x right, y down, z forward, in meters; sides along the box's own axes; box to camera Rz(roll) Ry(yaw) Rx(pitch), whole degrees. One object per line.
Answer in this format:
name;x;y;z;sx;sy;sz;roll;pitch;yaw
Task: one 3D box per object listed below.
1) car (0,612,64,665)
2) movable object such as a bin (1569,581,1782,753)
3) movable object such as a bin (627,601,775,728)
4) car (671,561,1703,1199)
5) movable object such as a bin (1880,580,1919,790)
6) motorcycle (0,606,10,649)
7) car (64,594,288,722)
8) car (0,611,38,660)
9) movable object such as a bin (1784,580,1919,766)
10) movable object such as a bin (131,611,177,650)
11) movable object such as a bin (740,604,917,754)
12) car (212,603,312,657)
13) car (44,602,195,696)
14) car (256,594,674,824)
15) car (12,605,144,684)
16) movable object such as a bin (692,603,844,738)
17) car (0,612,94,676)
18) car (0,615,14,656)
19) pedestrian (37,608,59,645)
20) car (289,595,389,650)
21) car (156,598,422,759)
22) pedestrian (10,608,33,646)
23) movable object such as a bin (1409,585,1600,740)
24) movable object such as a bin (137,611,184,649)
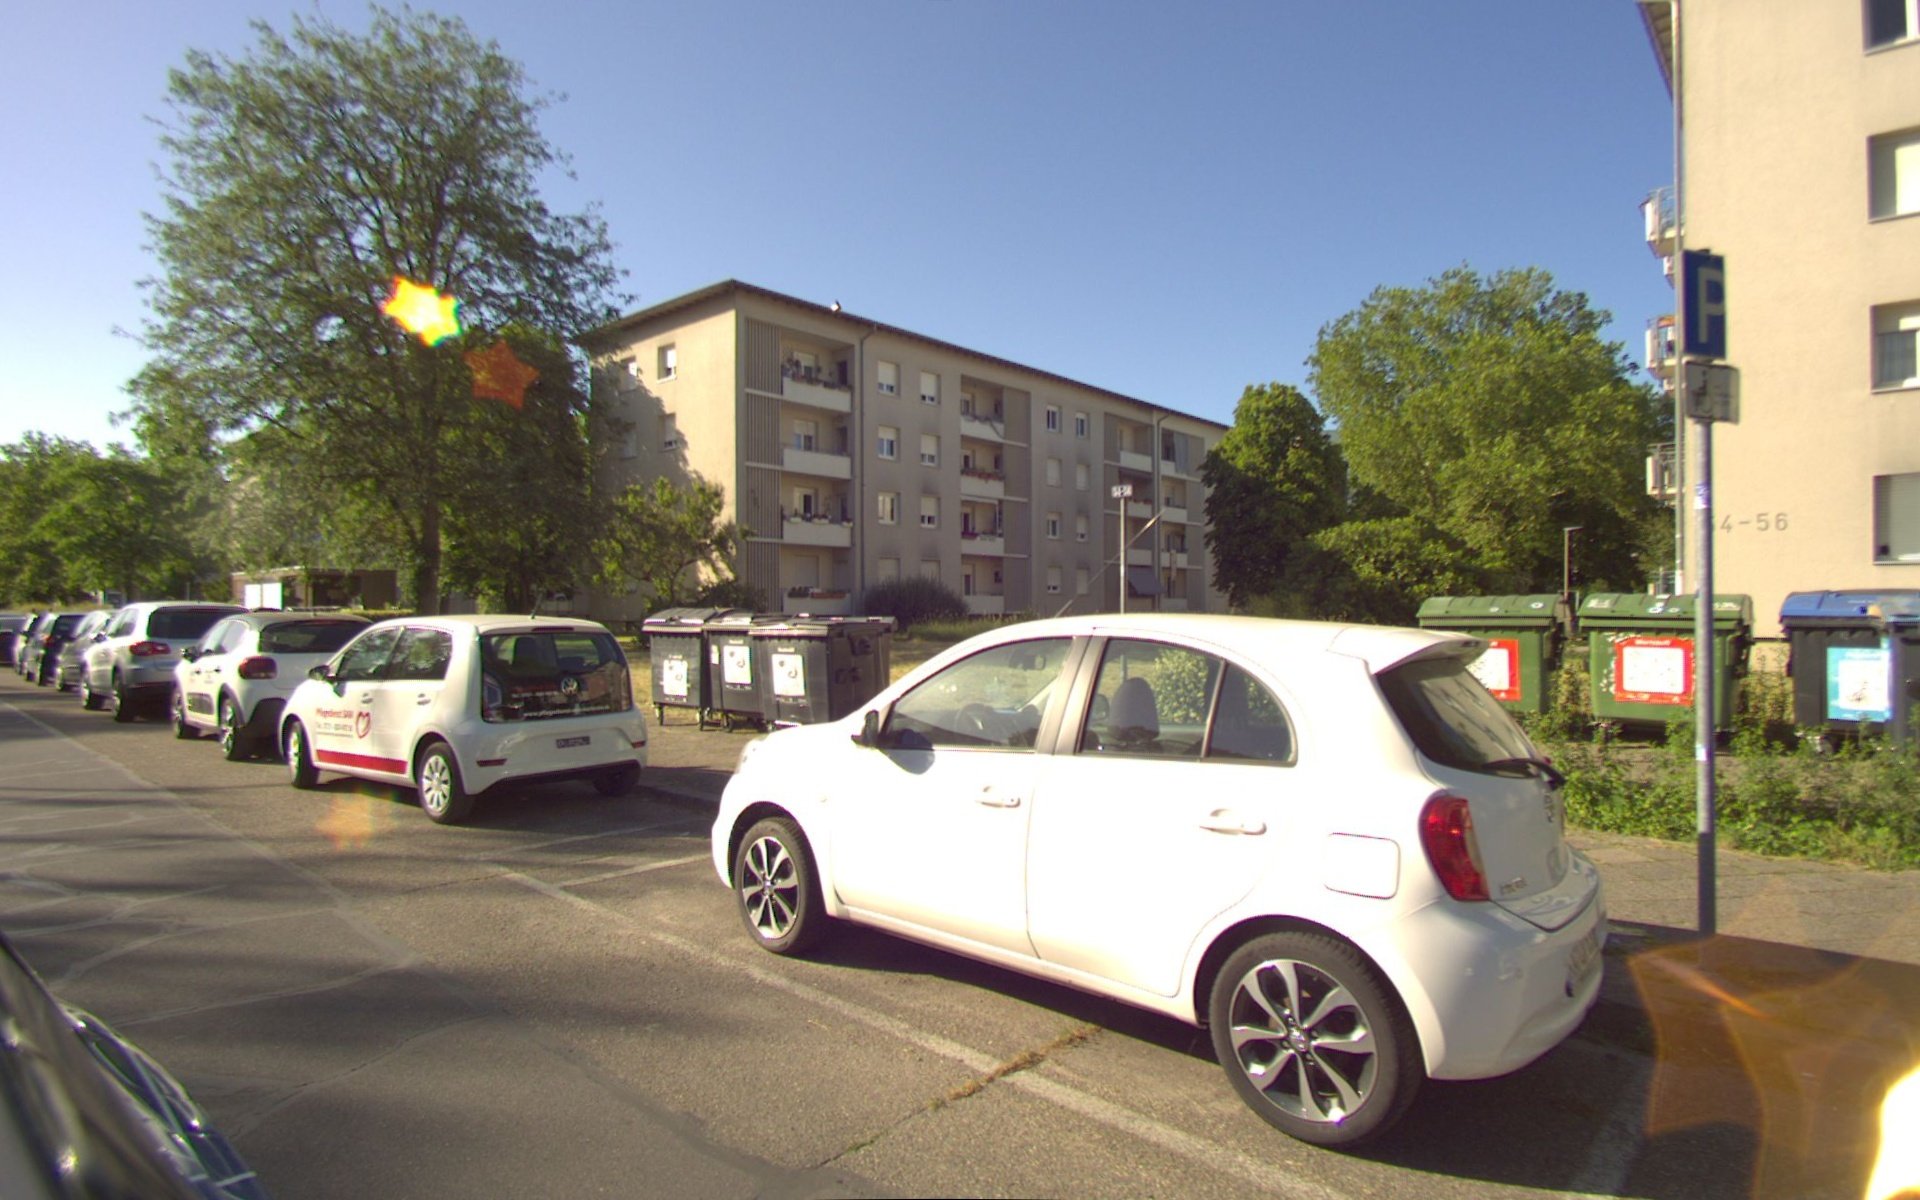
car;-28.329;1.120;30.194;4.534;1.492;1.736;-1;-3;41
movable object such as a bin;6.715;0.571;9.509;1.462;1.431;1.164;-1;2;44
movable object such as a bin;-3.179;0.745;12.394;1.442;1.393;1.124;-1;2;43
car;0.617;0.723;4.230;3.889;1.546;1.669;-1;-2;41
movable object such as a bin;7.386;0.578;7.097;1.361;1.431;1.122;-1;2;43
motorcycle;-39.551;1.067;40.355;0.931;1.740;2.234;-1;-3;39
car;-11.851;0.792;15.201;4.347;1.652;1.883;-1;-2;42
car;-32.323;1.153;33.794;3.717;1.586;1.736;-1;-3;40
movable object such as a bin;7.846;0.565;8.401;1.462;1.431;1.164;-1;2;44
movable object such as a bin;-30.448;1.144;38.229;1.343;1.418;1.165;-1;0;42
movable object such as a bin;-1.344;0.751;10.328;1.343;1.350;1.165;-1;2;43
car;-21.813;0.901;31.571;3.997;1.537;1.555;-1;0;40
car;-15.986;0.885;19.207;3.533;1.618;1.619;-1;-2;41
car;-4.202;0.758;8.449;3.530;1.525;1.648;-1;-2;36
car;-19.743;0.966;22.602;3.968;1.618;1.735;-1;-3;43
movable object such as a bin;-2.172;0.752;11.443;1.243;1.368;1.124;-1;2;43
car;-23.957;1.125;26.500;3.140;1.586;1.429;-1;-3;41
car;-37.128;1.304;38.242;3.959;1.492;1.735;-1;-3;43
pedestrian;-42.204;1.215;46.842;0.600;1.692;0.713;-1;-1;42
car;-20.001;0.690;32.545;3.997;1.653;1.555;-1;0;40
car;-7.789;0.787;11.604;3.945;1.525;1.644;-1;-2;43
pedestrian;-42.807;1.220;46.172;0.616;1.692;0.713;-1;-1;42
movable object such as a bin;5.620;0.593;10.463;1.462;1.431;1.164;-1;2;44
movable object such as a bin;-29.464;1.092;37.290;1.343;1.350;1.165;-1;0;43
